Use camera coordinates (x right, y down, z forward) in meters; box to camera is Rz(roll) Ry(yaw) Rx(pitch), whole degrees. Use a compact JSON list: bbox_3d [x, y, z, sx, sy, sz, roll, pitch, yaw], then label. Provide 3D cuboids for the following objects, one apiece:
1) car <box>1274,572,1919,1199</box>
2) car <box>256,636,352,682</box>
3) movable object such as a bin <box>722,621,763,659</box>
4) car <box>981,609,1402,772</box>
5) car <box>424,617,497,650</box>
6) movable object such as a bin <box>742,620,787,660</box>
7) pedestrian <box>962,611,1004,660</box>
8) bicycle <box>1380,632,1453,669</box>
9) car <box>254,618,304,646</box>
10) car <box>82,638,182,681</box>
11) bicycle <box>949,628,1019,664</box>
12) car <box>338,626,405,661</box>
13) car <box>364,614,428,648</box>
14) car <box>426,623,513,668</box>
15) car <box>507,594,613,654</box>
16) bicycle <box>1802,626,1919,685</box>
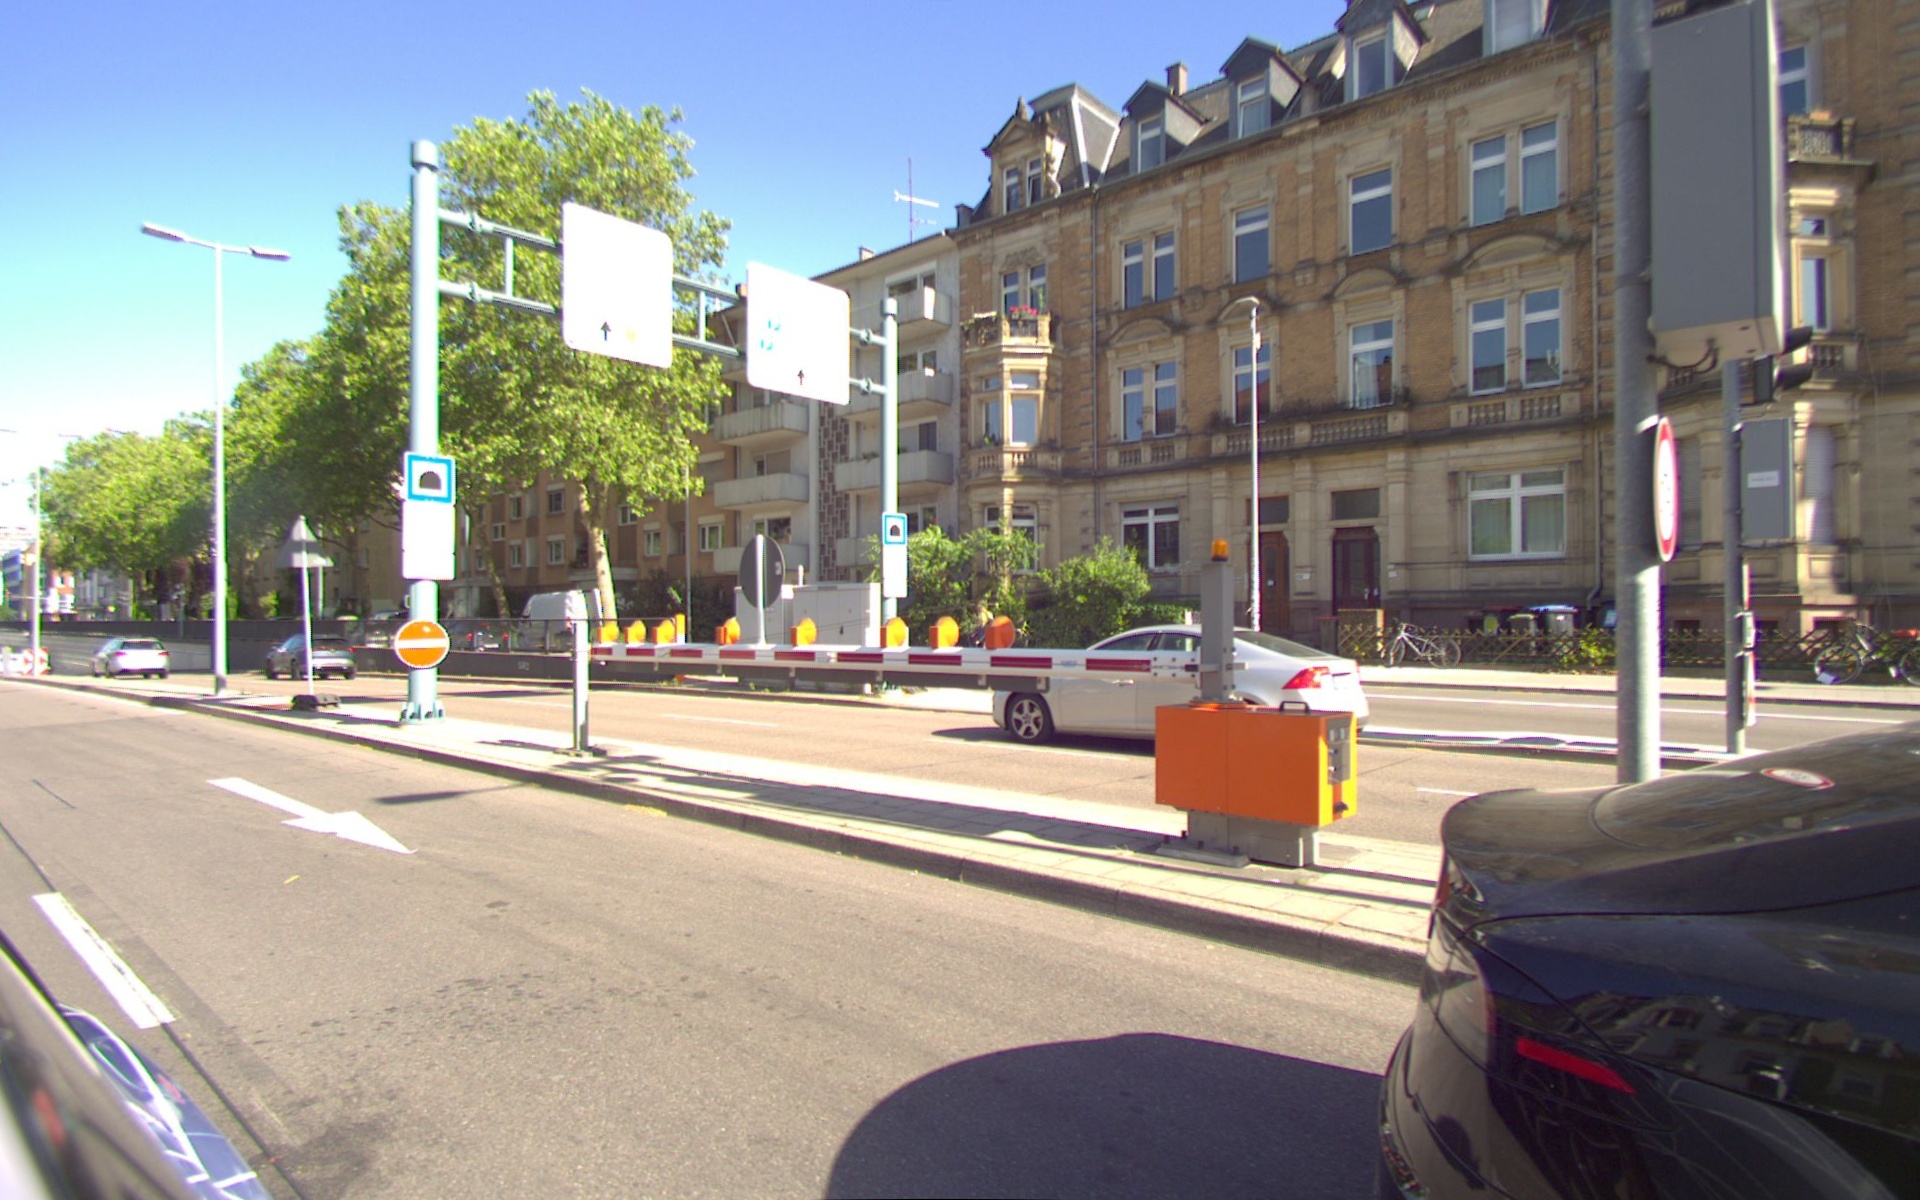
[{"bbox_3d":[2.814,0.650,0.639,4.623,1.422,1.905,-2,-1,41],"label":"car"},{"bbox_3d":[-22.136,1.984,34.100,4.309,1.452,1.590,-2,-5,42],"label":"car"},{"bbox_3d":[-7.942,1.472,36.937,1.314,1.373,0.883,-3,-4,41],"label":"movable object such as a bin"},{"bbox_3d":[2.578,0.941,11.913,4.388,1.463,1.973,-2,1,41],"label":"car"},{"bbox_3d":[-25.269,1.718,51.107,3.999,1.592,1.972,-3,-4,42],"label":"car"},{"bbox_3d":[-6.950,1.424,35.958,1.474,1.371,0.883,-3,-5,43],"label":"movable object such as a bin"},{"bbox_3d":[0.656,1.026,29.275,1.089,1.388,0.560,-2,-2,40],"label":"pedestrian"},{"bbox_3d":[9.853,1.076,21.871,1.413,0.777,0.295,-2,-2,43],"label":"bicycle"},{"bbox_3d":[-48.021,2.289,71.339,3.998,1.864,1.973,-3,-4,41],"label":"car"},{"bbox_3d":[-30.600,2.228,37.373,4.613,1.464,1.973,-4,-6,39],"label":"car"},{"bbox_3d":[0.689,1.363,29.893,2.248,1.013,0.462,-2,-1,40],"label":"bicycle"},{"bbox_3d":[-27.410,1.996,47.102,3.688,1.498,1.611,-1,0,41],"label":"car"},{"bbox_3d":[-31.579,1.730,56.634,3.999,1.766,1.972,-3,-3,42],"label":"car"},{"bbox_3d":[-18.860,1.761,38.851,3.688,1.449,1.611,-7,-3,41],"label":"car"},{"bbox_3d":[-17.478,1.119,44.075,5.286,2.465,2.220,-3,-4,43],"label":"car"},{"bbox_3d":[15.331,0.914,16.895,1.939,0.965,0.301,-2,-2,42],"label":"bicycle"}]
